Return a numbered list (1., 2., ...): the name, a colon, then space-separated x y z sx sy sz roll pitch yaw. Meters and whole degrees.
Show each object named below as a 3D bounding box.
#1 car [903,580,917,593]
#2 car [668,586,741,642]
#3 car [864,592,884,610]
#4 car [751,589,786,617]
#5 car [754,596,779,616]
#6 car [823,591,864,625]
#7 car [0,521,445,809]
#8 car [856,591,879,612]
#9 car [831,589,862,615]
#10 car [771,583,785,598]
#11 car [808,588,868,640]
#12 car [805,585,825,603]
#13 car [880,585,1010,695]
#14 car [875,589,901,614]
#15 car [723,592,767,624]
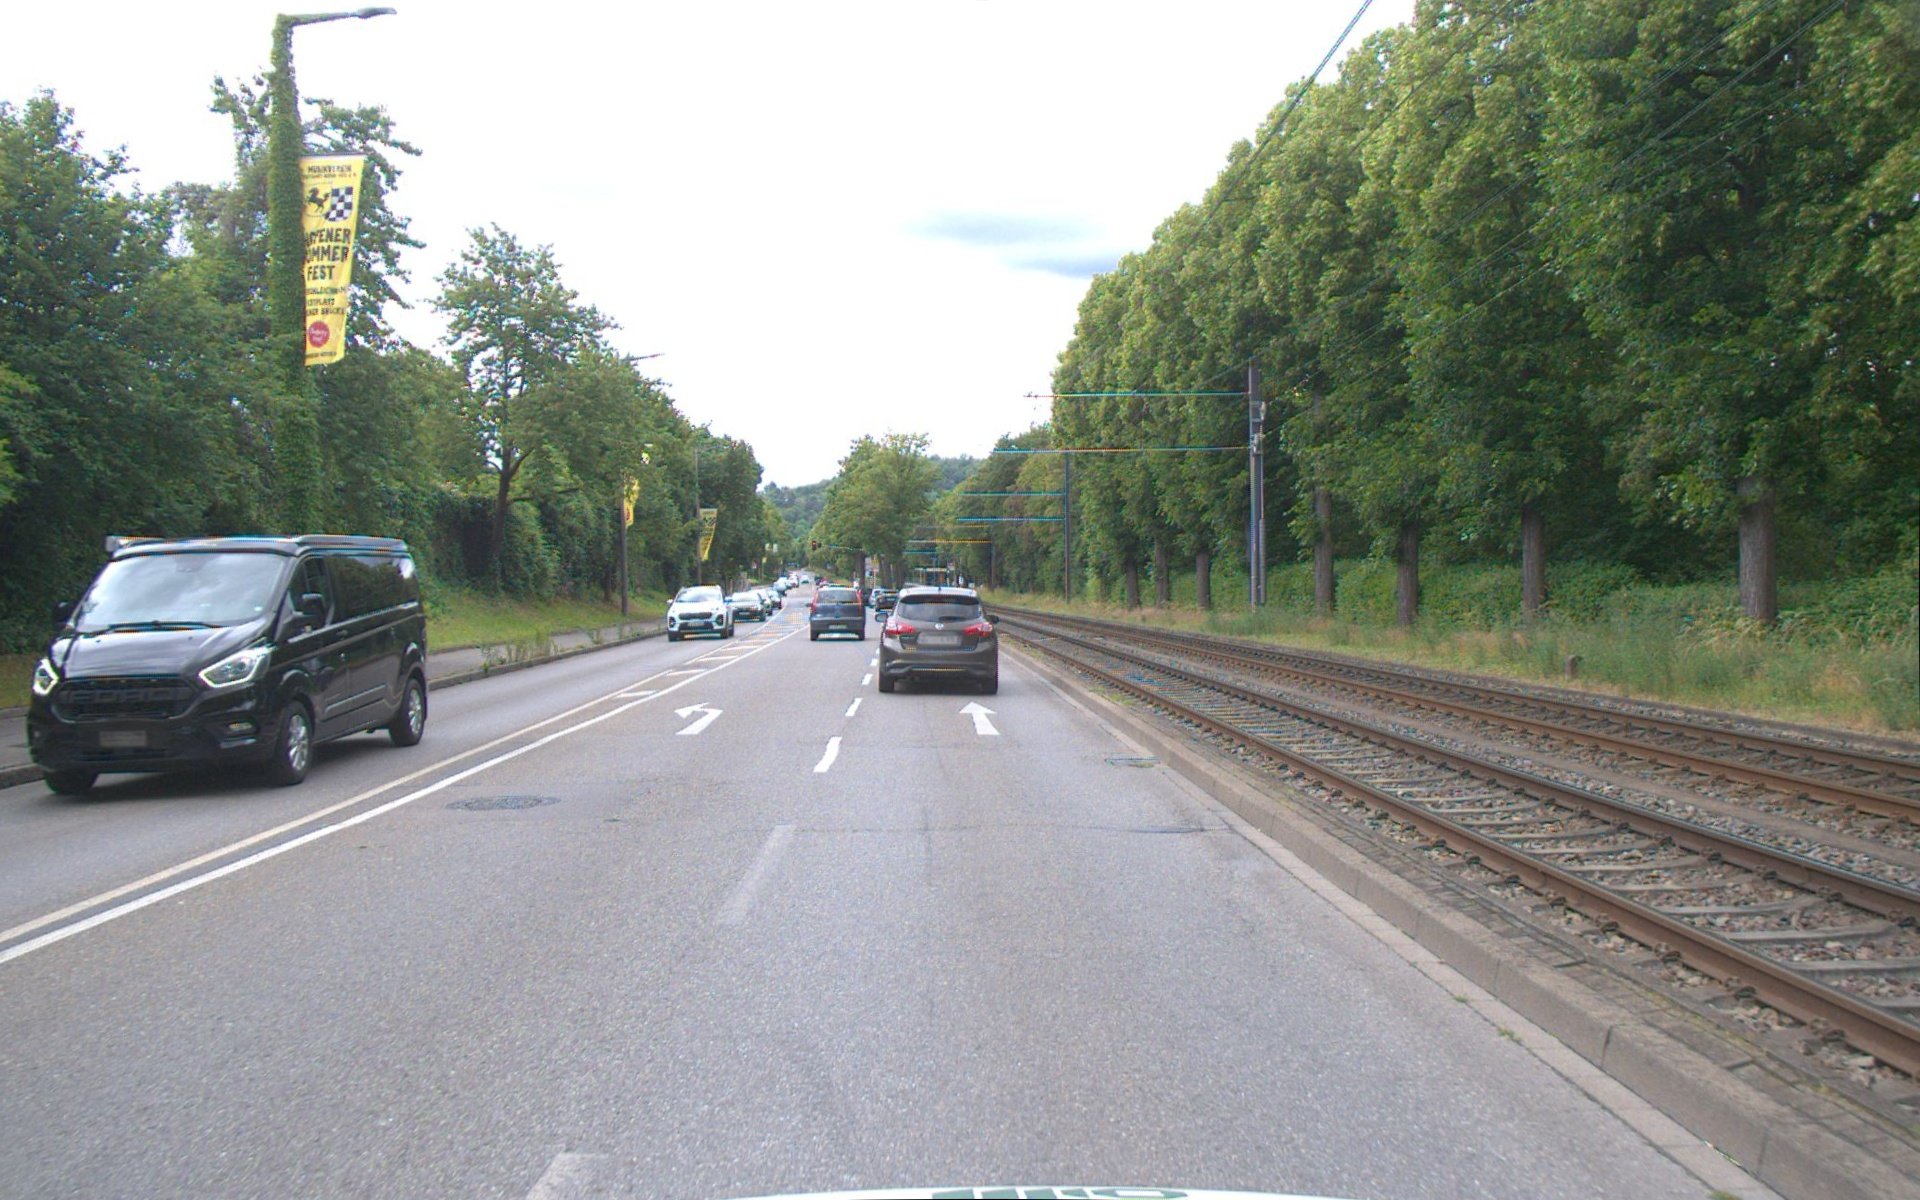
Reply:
1. car: -6.740 -1.813 221.948 1.681 1.692 3.704 0 0 -4
2. car: -8.002 0.411 52.164 1.805 1.648 4.157 -2 0 -3
3. car: -7.746 0.074 149.331 1.681 1.577 3.998 0 0 -2
4. car: -11.118 0.173 96.220 1.791 1.482 4.139 -3 0 -4
5. car: -14.942 0.428 127.860 1.806 1.399 4.442 -2 1 -6
6. car: -5.105 0.332 72.939 1.665 1.469 3.998 0 0 -2
7. car: -6.345 0.468 14.923 1.954 2.071 5.113 -2 0 -3
8. car: -7.058 0.135 126.957 1.681 1.577 3.998 0 0 -2
9. car: -6.516 0.149 95.461 1.681 1.460 3.998 0 0 -2
10. car: -23.536 -1.227 214.262 1.681 1.791 3.996 0 0 -4
11. car: -3.533 0.377 48.268 1.666 1.469 3.997 0 0 -4
12. car: -14.439 -0.584 165.228 1.665 1.744 3.999 0 0 -1
13. car: -0.248 0.560 25.238 1.813 1.519 3.999 1 0 -1
14. car: -4.723 0.120 108.393 1.681 1.577 3.998 0 0 -2
15. car: -10.223 0.367 79.002 1.731 1.425 4.213 -3 0 -4
